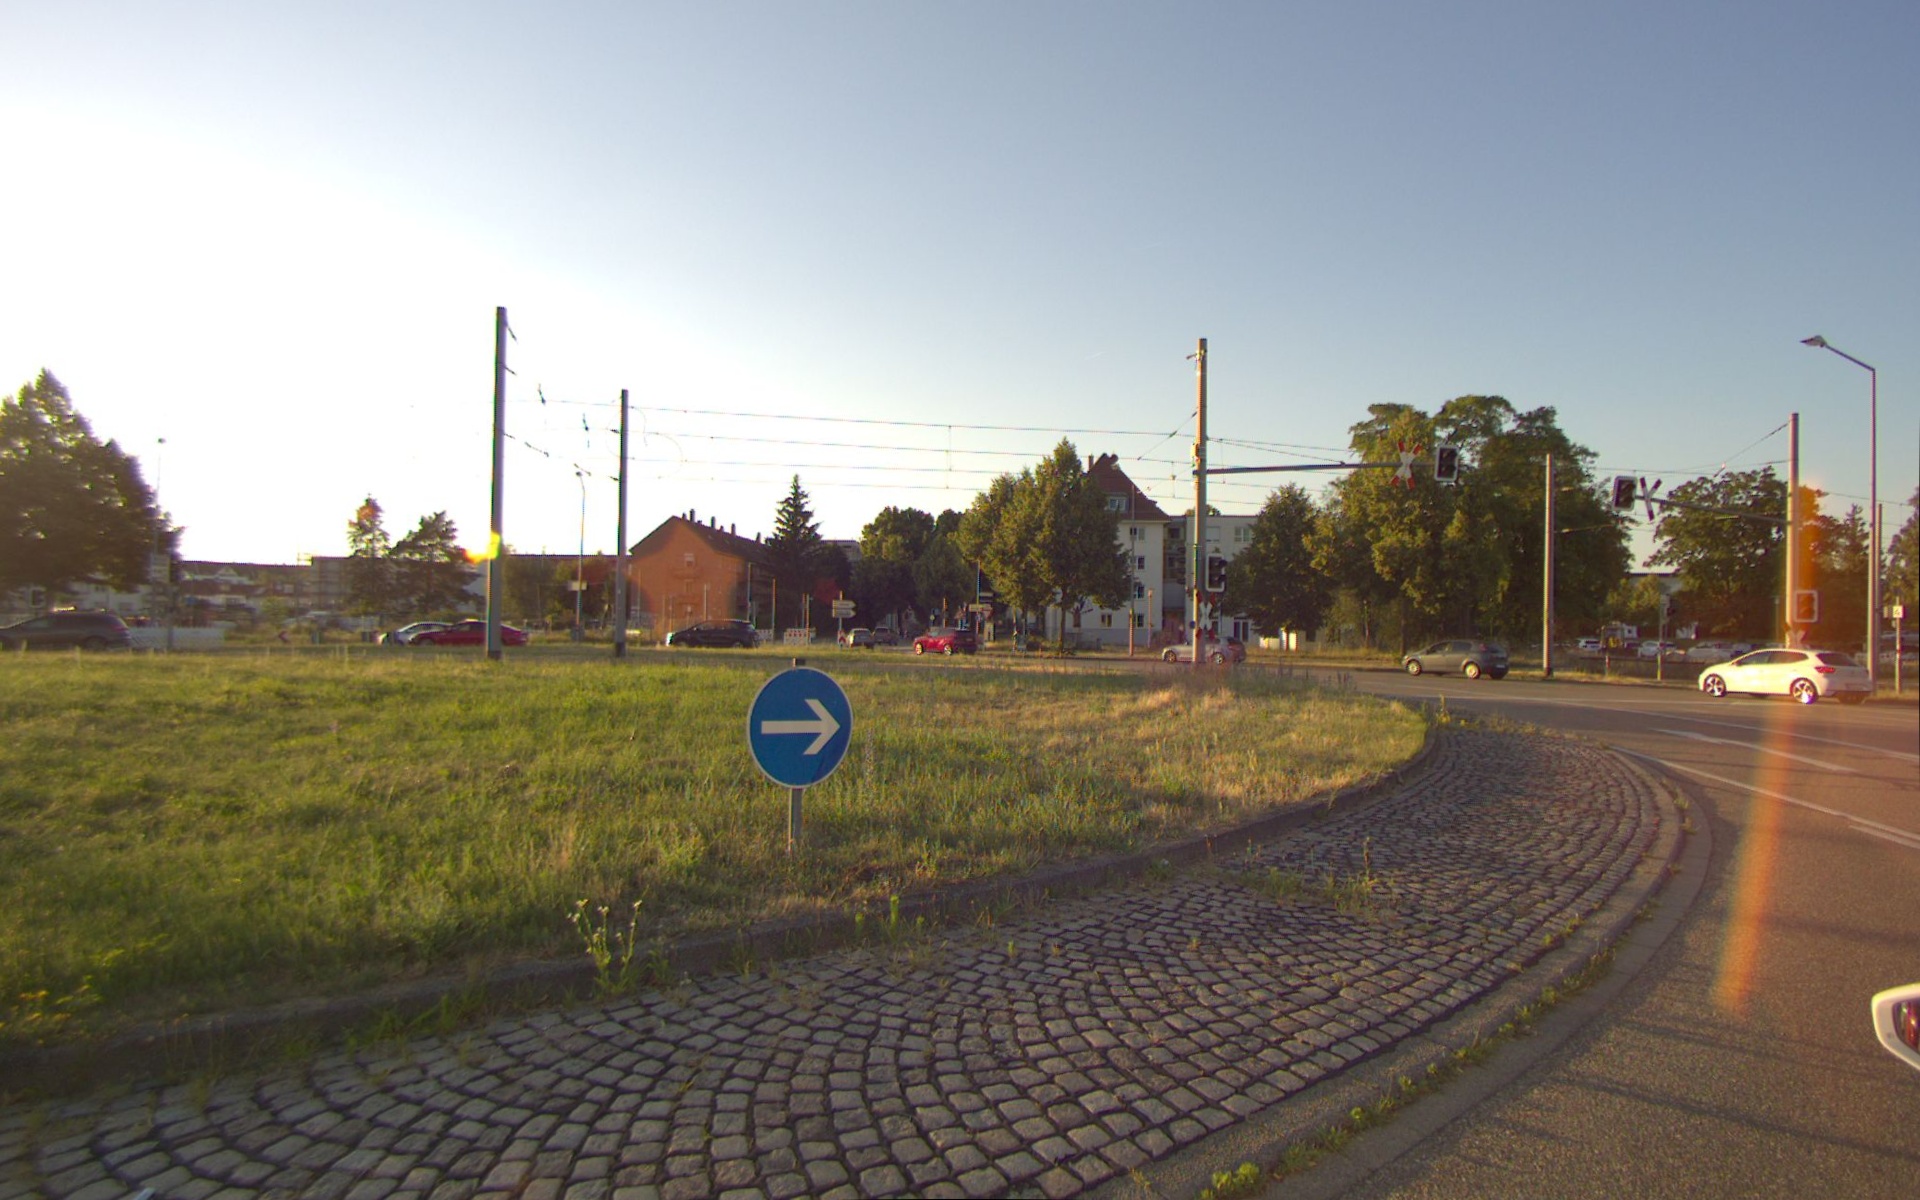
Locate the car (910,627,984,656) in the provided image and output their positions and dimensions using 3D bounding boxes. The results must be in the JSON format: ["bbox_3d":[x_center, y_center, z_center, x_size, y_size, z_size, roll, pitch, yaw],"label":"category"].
[{"bbox_3d":[-0.803,2.409,59.352,1.985,1.594,4.362,2,-1,-41],"label":"car"}]

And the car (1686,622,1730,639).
[{"bbox_3d":[93.851,3.836,126.080,4.033,2.040,2.001,1,-1,5],"label":"car"}]

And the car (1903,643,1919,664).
[{"bbox_3d":[76.635,4.264,78.656,1.960,1.625,4.002,1,-1,4],"label":"car"}]

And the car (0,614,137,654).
[{"bbox_3d":[-33.334,1.252,37.171,4.346,1.394,1.978,2,-1,-38],"label":"car"}]

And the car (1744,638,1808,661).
[{"bbox_3d":[64.303,3.875,79.211,1.960,1.625,4.002,1,-1,4],"label":"car"}]

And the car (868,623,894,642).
[{"bbox_3d":[-7.200,2.940,91.608,1.960,1.659,4.526,0,-1,0],"label":"car"}]

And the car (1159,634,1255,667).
[{"bbox_3d":[11.813,2.384,48.189,4.103,1.408,1.858,0,-1,42],"label":"car"}]

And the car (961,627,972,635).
[{"bbox_3d":[1.302,6.430,209.783,1.960,1.618,4.002,1,-1,5],"label":"car"}]

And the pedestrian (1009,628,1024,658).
[{"bbox_3d":[3.648,2.809,65.066,0.614,1.918,0.663,2,0,-35],"label":"pedestrian"}]

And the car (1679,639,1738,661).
[{"bbox_3d":[59.812,4.003,80.354,1.960,1.625,4.002,1,-1,4],"label":"car"}]

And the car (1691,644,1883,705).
[{"bbox_3d":[22.987,2.022,28.135,1.834,1.473,3.966,1,-1,-9],"label":"car"}]

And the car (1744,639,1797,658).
[{"bbox_3d":[77.865,4.613,96.507,3.939,1.684,1.894,0,-1,39],"label":"car"}]

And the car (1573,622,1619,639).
[{"bbox_3d":[80.231,3.879,126.782,4.507,2.040,2.000,1,-1,1],"label":"car"}]

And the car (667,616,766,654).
[{"bbox_3d":[-10.973,1.575,45.449,3.920,1.605,1.896,1,-1,3],"label":"car"}]

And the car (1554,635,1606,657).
[{"bbox_3d":[49.714,3.683,80.626,1.960,1.625,4.002,1,-1,4],"label":"car"}]

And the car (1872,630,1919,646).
[{"bbox_3d":[108.603,4.386,116.379,3.919,1.840,2.001,1,-1,6],"label":"car"}]

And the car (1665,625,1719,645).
[{"bbox_3d":[80.759,3.859,110.892,4.507,2.040,2.000,1,-1,1],"label":"car"}]

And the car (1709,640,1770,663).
[{"bbox_3d":[61.927,4.067,79.860,1.960,1.625,4.002,1,-1,4],"label":"car"}]

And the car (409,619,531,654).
[{"bbox_3d":[-21.353,1.585,43.944,4.421,1.410,1.890,1,-1,-14],"label":"car"}]

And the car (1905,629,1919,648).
[{"bbox_3d":[107.986,4.281,111.532,3.919,2.040,2.001,1,-1,12],"label":"car"}]

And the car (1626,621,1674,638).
[{"bbox_3d":[86.903,3.689,126.544,4.505,2.040,2.001,1,-1,5],"label":"car"}]

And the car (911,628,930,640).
[{"bbox_3d":[-4.620,3.965,118.296,1.660,1.372,4.003,1,-1,6],"label":"car"}]

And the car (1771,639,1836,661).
[{"bbox_3d":[66.658,3.951,79.432,1.960,1.625,4.002,1,-1,4],"label":"car"}]

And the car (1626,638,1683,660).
[{"bbox_3d":[55.048,3.848,79.691,1.960,1.625,4.002,1,-1,4],"label":"car"}]

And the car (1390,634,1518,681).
[{"bbox_3d":[19.107,2.210,39.025,1.844,1.473,4.134,4,-1,-26],"label":"car"}]

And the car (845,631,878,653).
[{"bbox_3d":[-7.424,3.106,75.140,1.854,1.483,4.659,1,-1,-13],"label":"car"}]

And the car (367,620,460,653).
[{"bbox_3d":[-28.026,1.869,51.510,3.961,1.643,1.980,2,-1,-36],"label":"car"}]
